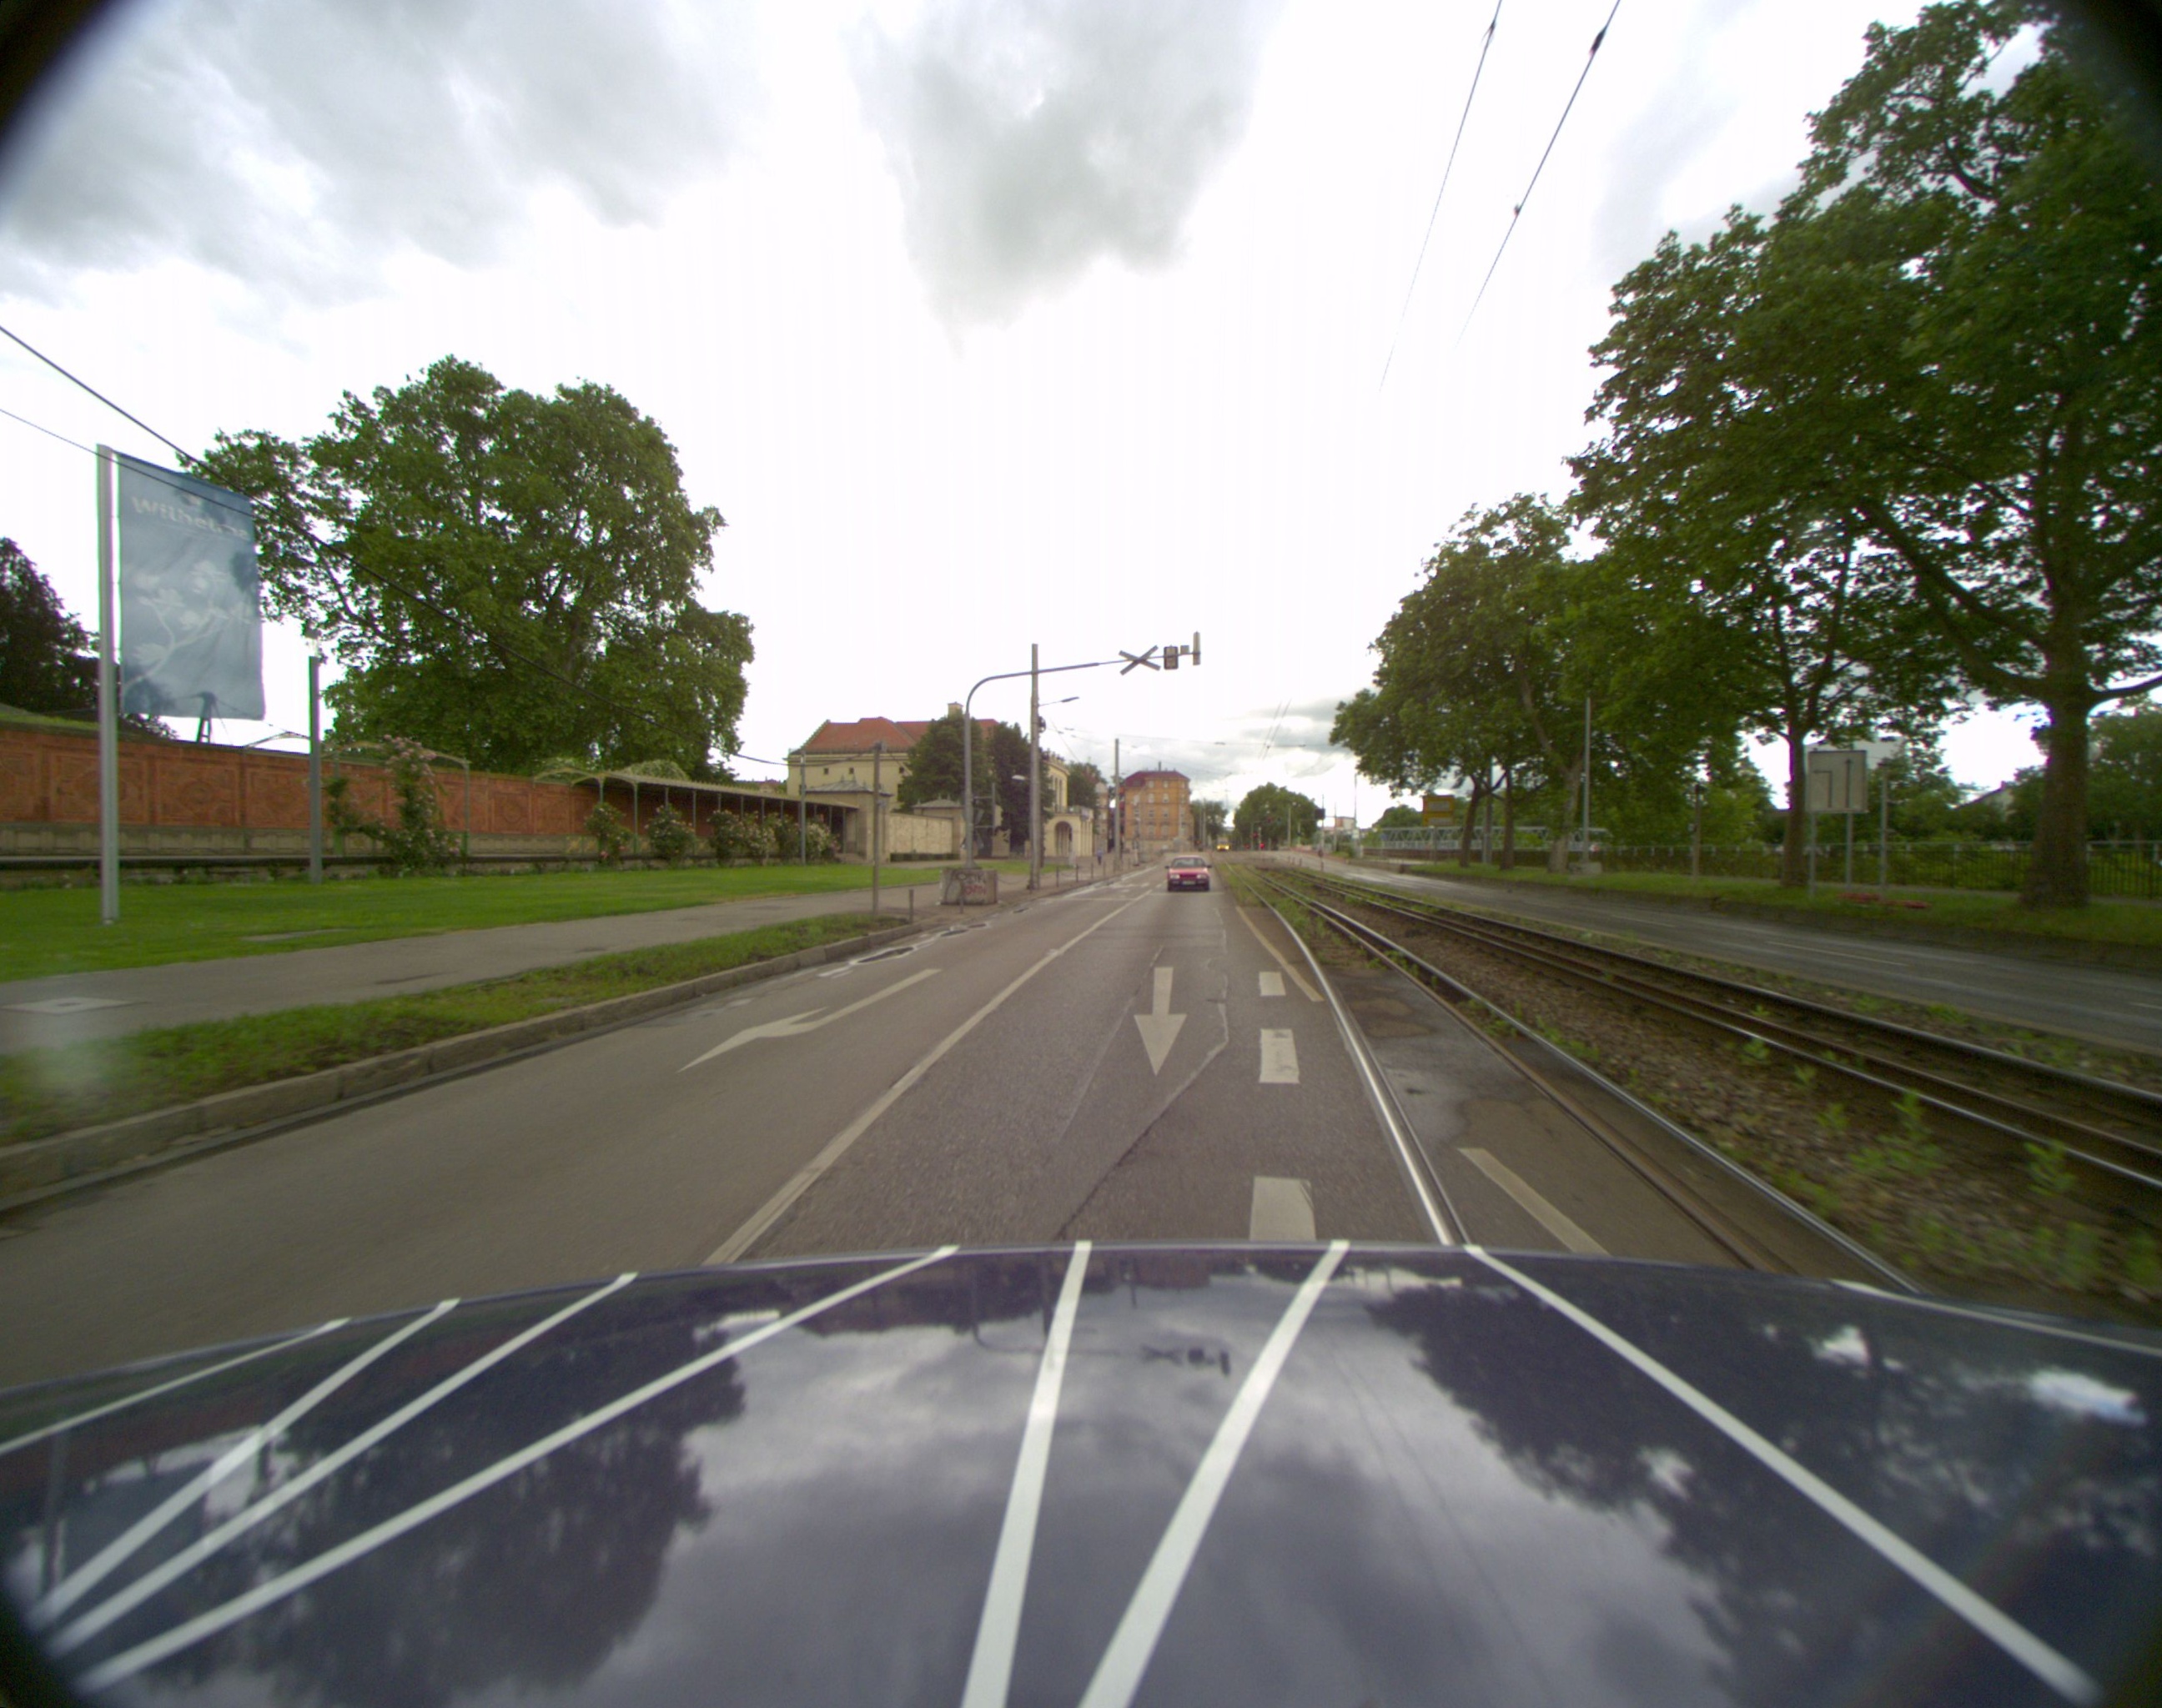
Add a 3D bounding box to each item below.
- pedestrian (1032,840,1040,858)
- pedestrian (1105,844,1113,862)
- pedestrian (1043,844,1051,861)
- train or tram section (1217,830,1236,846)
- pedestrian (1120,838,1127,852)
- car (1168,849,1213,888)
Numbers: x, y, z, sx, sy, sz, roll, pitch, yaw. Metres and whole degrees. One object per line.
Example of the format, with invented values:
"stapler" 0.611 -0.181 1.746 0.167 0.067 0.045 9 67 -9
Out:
"pedestrian" -4.635 -0.536 78.276 0.596 1.782 0.809 1 2 9
"pedestrian" 2.739 -0.101 75.144 0.672 1.758 0.937 1 2 9
"pedestrian" -3.507 -0.190 78.112 0.597 1.689 0.791 1 2 9
"train or tram section" 35.496 -3.989 185.785 3.736 3.347 17.562 2 3 8
"pedestrian" 5.331 -1.171 95.275 0.672 1.758 0.937 1 2 9
"car" 4.508 0.549 31.187 1.680 1.434 4.121 -1 1 9
